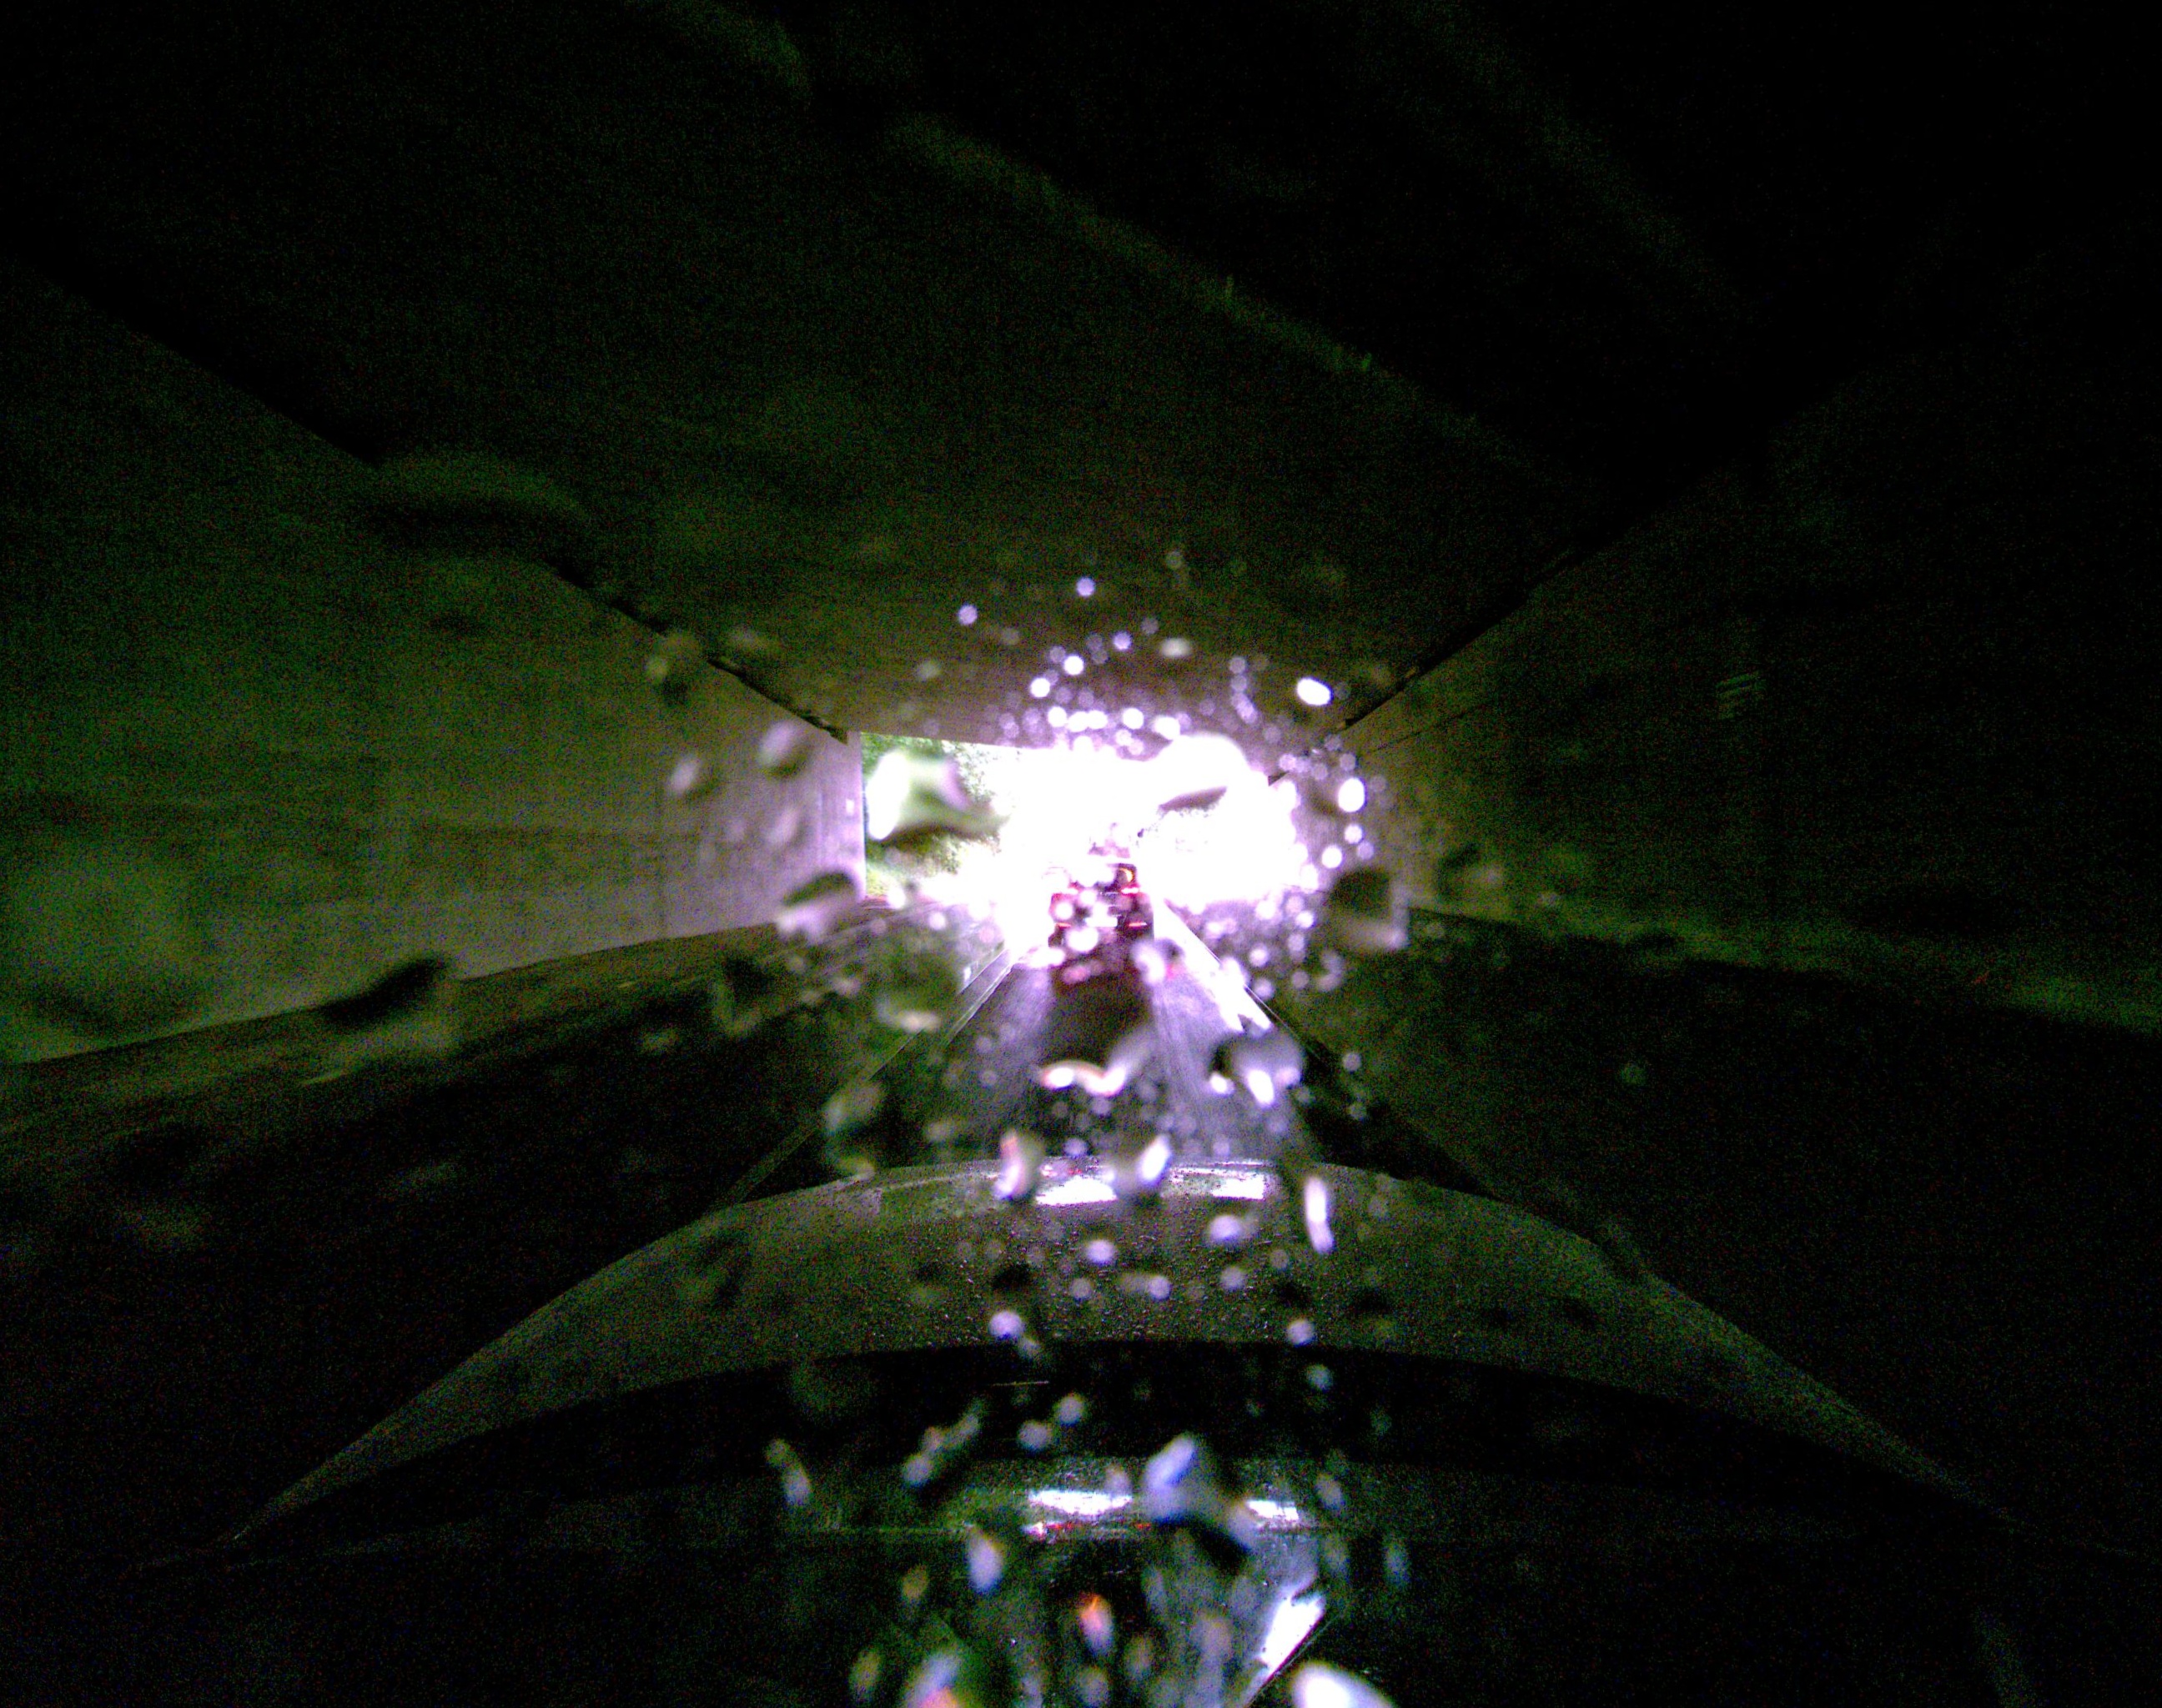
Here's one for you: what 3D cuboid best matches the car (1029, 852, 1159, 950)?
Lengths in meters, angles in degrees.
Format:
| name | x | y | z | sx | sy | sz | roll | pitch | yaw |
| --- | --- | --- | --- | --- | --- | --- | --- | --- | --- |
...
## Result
| name | x | y | z | sx | sy | sz | roll | pitch | yaw |
| --- | --- | --- | --- | --- | --- | --- | --- | --- | --- |
| car | 0.160 | 0.717 | 14.440 | 1.988 | 1.487 | 3.998 | 0 | 0 | -1 |

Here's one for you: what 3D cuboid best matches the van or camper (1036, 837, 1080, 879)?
| name | x | y | z | sx | sy | sz | roll | pitch | yaw |
| --- | --- | --- | --- | --- | --- | --- | --- | --- | --- |
| van or camper | -1.171 | 0.197 | 43.430 | 1.985 | 2.098 | 4.695 | 0 | 0 | 3 |

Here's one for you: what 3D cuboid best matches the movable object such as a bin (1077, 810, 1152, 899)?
| name | x | y | z | sx | sy | sz | roll | pitch | yaw |
| --- | --- | --- | --- | --- | --- | --- | --- | --- | --- |
| movable object such as a bin | 1.057 | 0.007 | 27.721 | 2.238 | 2.669 | 6.627 | 0 | 0 | 1 |
